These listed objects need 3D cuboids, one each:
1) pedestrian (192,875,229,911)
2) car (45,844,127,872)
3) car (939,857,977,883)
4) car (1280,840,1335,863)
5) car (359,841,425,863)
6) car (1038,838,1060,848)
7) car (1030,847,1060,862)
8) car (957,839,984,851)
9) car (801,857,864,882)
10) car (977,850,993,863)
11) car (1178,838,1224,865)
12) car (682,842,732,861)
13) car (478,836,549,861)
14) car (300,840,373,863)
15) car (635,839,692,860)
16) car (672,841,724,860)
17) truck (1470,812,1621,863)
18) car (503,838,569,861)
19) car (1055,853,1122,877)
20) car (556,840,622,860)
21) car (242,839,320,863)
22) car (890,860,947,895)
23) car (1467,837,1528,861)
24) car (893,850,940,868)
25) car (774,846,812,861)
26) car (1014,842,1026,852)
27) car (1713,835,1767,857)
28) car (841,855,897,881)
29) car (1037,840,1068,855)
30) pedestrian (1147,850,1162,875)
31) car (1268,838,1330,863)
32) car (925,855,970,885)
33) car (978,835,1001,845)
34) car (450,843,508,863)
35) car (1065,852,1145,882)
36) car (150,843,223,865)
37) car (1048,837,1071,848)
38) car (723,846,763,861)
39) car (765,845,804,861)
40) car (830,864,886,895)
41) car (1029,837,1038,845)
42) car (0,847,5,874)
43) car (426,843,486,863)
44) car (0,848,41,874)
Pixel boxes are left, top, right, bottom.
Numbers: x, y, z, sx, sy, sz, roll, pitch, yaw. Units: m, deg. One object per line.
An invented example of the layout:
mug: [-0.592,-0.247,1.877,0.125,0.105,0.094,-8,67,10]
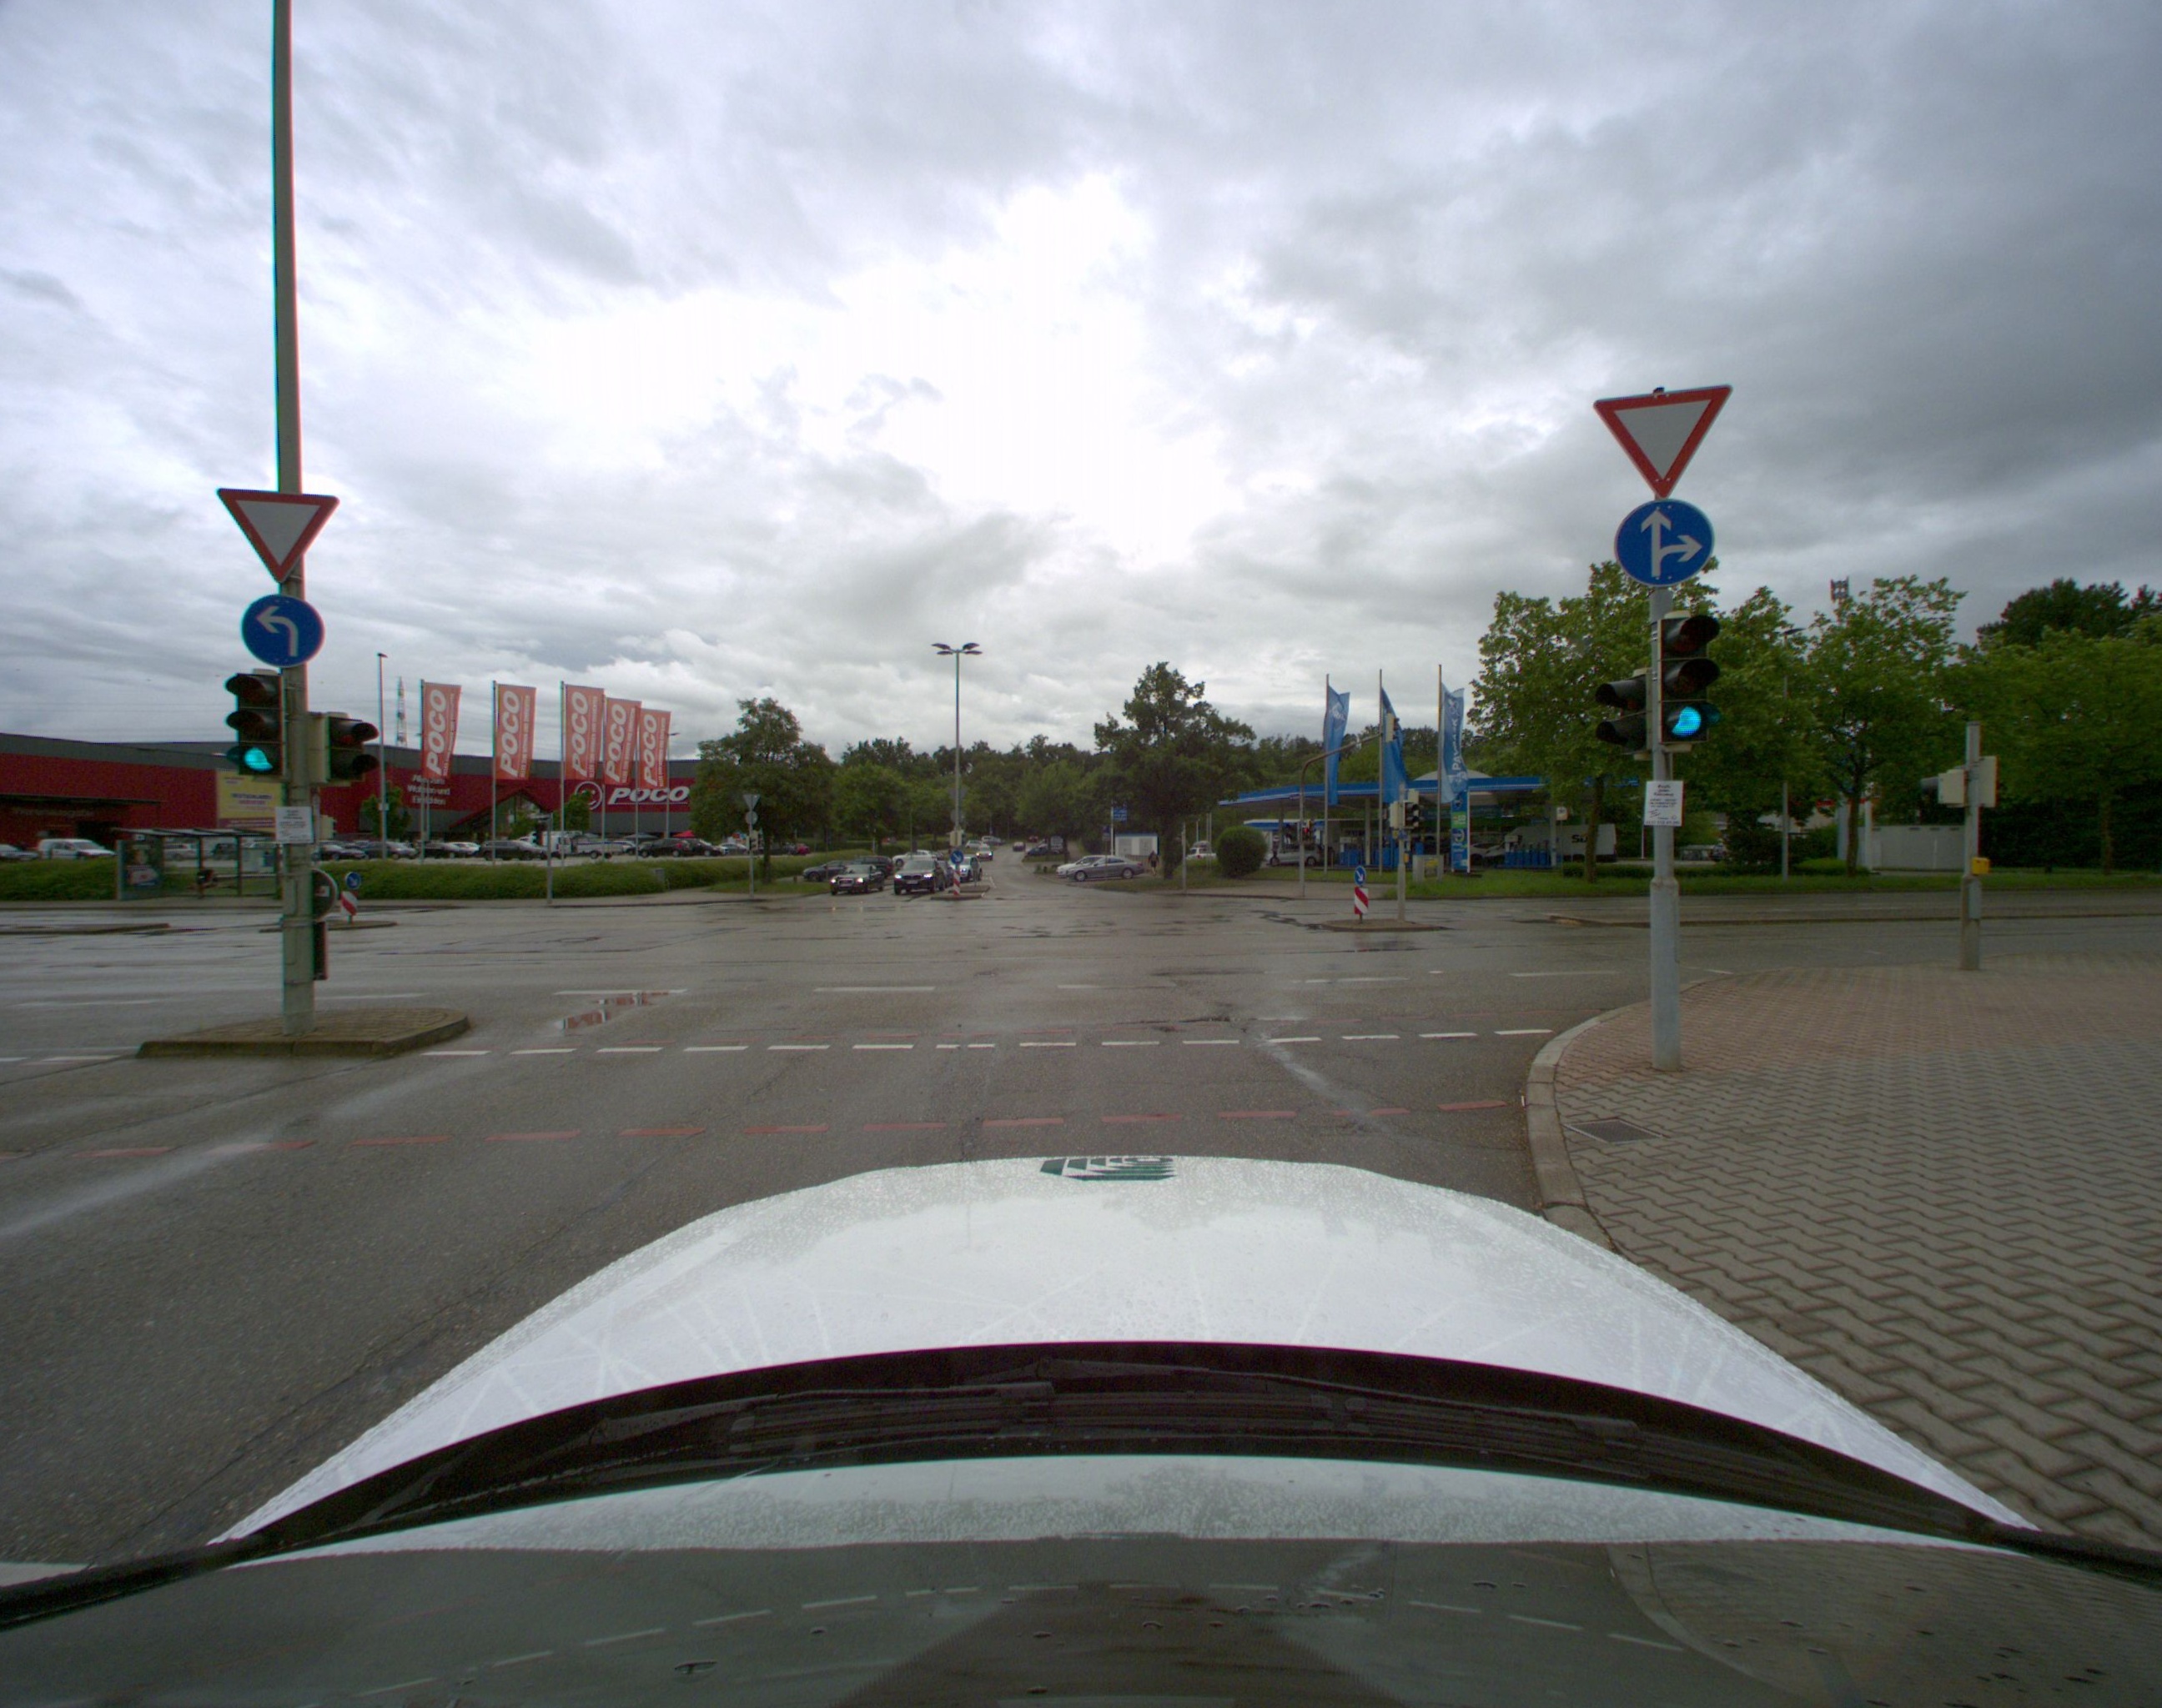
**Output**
pedestrian: [-34.975,1.552,32.742,0.637,1.431,0.780,-1,-2,-2]
car: [-72.036,0.282,58.991,3.725,1.926,1.792,-1,-1,0]
car: [-7.850,0.975,52.179,1.891,1.553,3.997,-1,0,-2]
car: [18.442,-0.174,66.258,3.949,1.728,1.806,-2,-1,28]
car: [-55.501,-0.140,65.659,3.934,1.645,1.674,-1,-1,2]
car: [-5.852,-1.932,148.304,3.980,1.739,1.807,-1,-1,-5]
car: [-4.144,0.104,94.135,3.453,1.654,1.614,-1,-1,-4]
car: [-16.648,-1.343,122.602,3.981,1.794,1.852,-1,-1,-6]
car: [-16.138,0.987,52.997,3.644,1.553,1.681,-1,-1,-6]
car: [-11.066,0.273,94.243,1.694,1.456,3.667,-1,-1,-5]
car: [8.328,-0.142,56.706,1.812,1.797,3.680,0,-1,-16]
car: [-34.534,-0.255,75.328,3.799,1.645,1.674,-1,-1,2]
car: [-40.122,-0.371,57.605,3.799,1.645,1.674,-1,-1,2]
car: [-55.735,-0.182,61.012,3.934,1.645,1.674,-1,-1,2]
car: [-34.626,-0.329,67.560,3.799,1.645,1.674,-1,-1,2]
car: [-34.127,-0.286,72.553,3.799,1.645,1.674,-1,-1,2]
truck: [28.089,-0.921,49.633,7.774,2.676,2.168,-2,-3,26]
car: [-40.496,-0.337,60.572,3.799,1.645,1.633,-1,-1,2]
car: [0.509,0.761,58.171,4.566,1.589,1.925,-1,-1,-6]
car: [-36.518,-0.270,60.491,3.881,1.381,1.674,-1,-1,2]
car: [-56.872,-0.200,57.949,3.934,1.645,1.674,-1,-1,2]
car: [-7.609,1.063,38.616,1.891,1.553,4.588,-1,-1,-2]
car: [28.173,-0.355,55.077,3.517,1.582,1.700,0,0,33]
car: [-16.111,0.483,79.801,4.261,1.609,1.683,-1,-1,-2]
car: [-33.438,-0.079,94.673,3.799,1.645,1.674,-1,-1,2]
car: [-9.392,-1.020,125.688,1.804,1.482,3.746,-1,-1,-4]
car: [57.206,-0.680,70.737,4.004,1.838,1.985,-1,-1,-23]
car: [-15.205,0.993,58.593,3.644,1.724,1.681,-1,-1,-6]
car: [-3.535,-0.789,100.922,3.691,1.750,1.695,-1,-1,-4]
pedestrian: [4.917,0.549,54.814,0.807,1.661,0.885,-1,-1,-6]
car: [16.409,-0.212,61.270,4.075,1.807,1.958,-1,-1,32]
car: [-7.658,0.910,47.138,1.790,1.633,4.551,-1,-1,0]
car: [-17.195,-2.677,153.250,3.975,1.794,1.855,-1,-1,-1]
car: [-54.211,-0.078,73.345,3.934,1.645,1.674,-1,-1,2]
car: [1.512,0.808,52.863,4.880,1.549,1.996,-4,0,-6]
car: [-71.047,0.004,64.706,3.934,1.645,1.698,-1,-1,2]
car: [-3.735,-2.032,140.854,3.980,1.739,1.807,-1,-1,-5]
car: [-38.264,-0.061,92.187,3.799,1.645,1.674,-1,-1,2]
car: [-33.436,-0.106,91.887,3.799,1.645,1.674,-1,-1,2]
car: [-11.026,1.233,40.498,1.778,1.404,3.997,-1,-1,-2]
car: [-10.551,-2.812,180.292,1.801,1.739,3.995,-1,-1,-3]
car: [-67.381,0.414,48.683,3.934,1.645,1.698,-1,-1,2]
car: [-54.319,-0.102,70.770,3.934,1.645,1.674,-1,-1,2]
car: [-71.908,0.510,53.944,3.934,1.645,1.698,-1,-1,2]
